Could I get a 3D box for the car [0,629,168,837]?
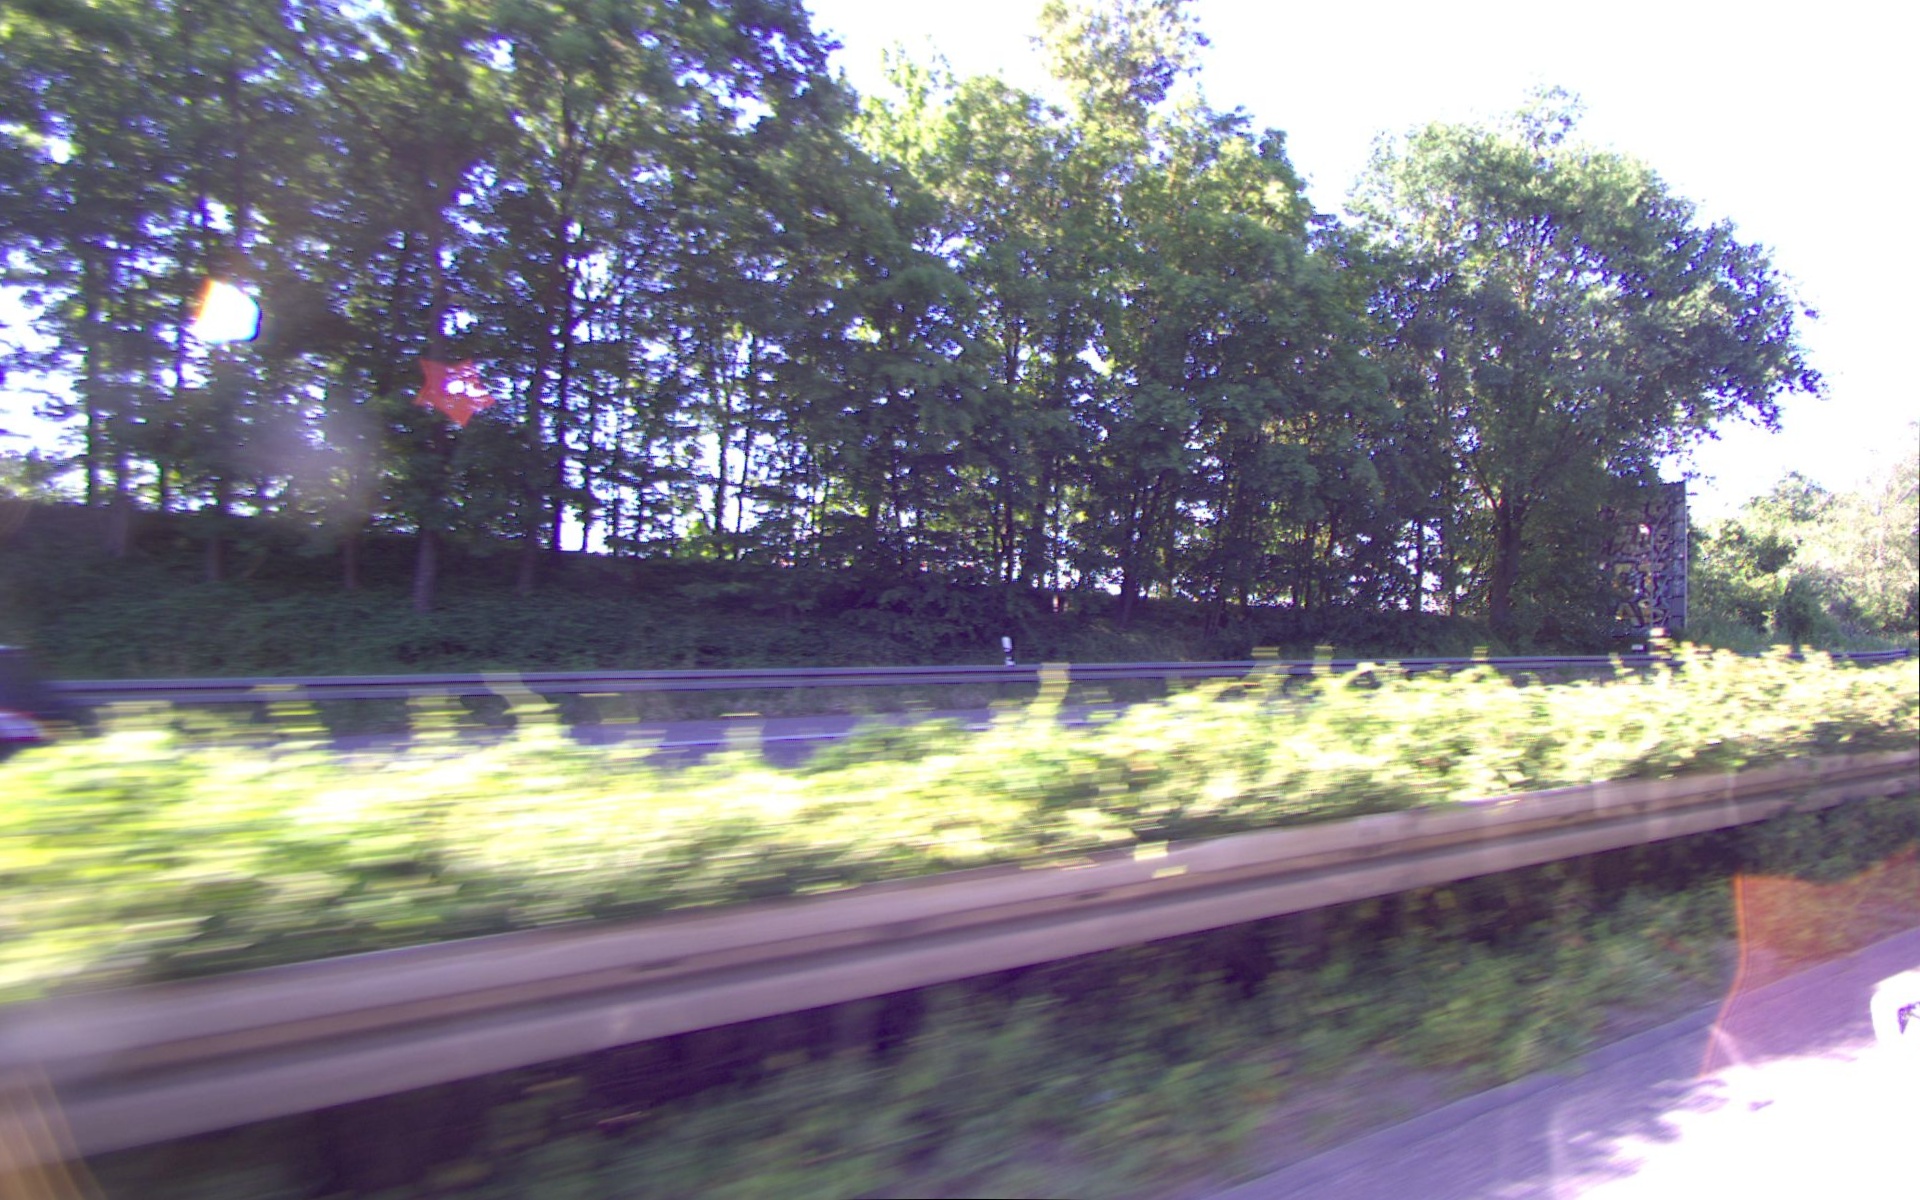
[{"bbox_3d":[-8.758,0.977,7.452,4.277,1.469,1.950,1,0,-32],"label":"car"}]
